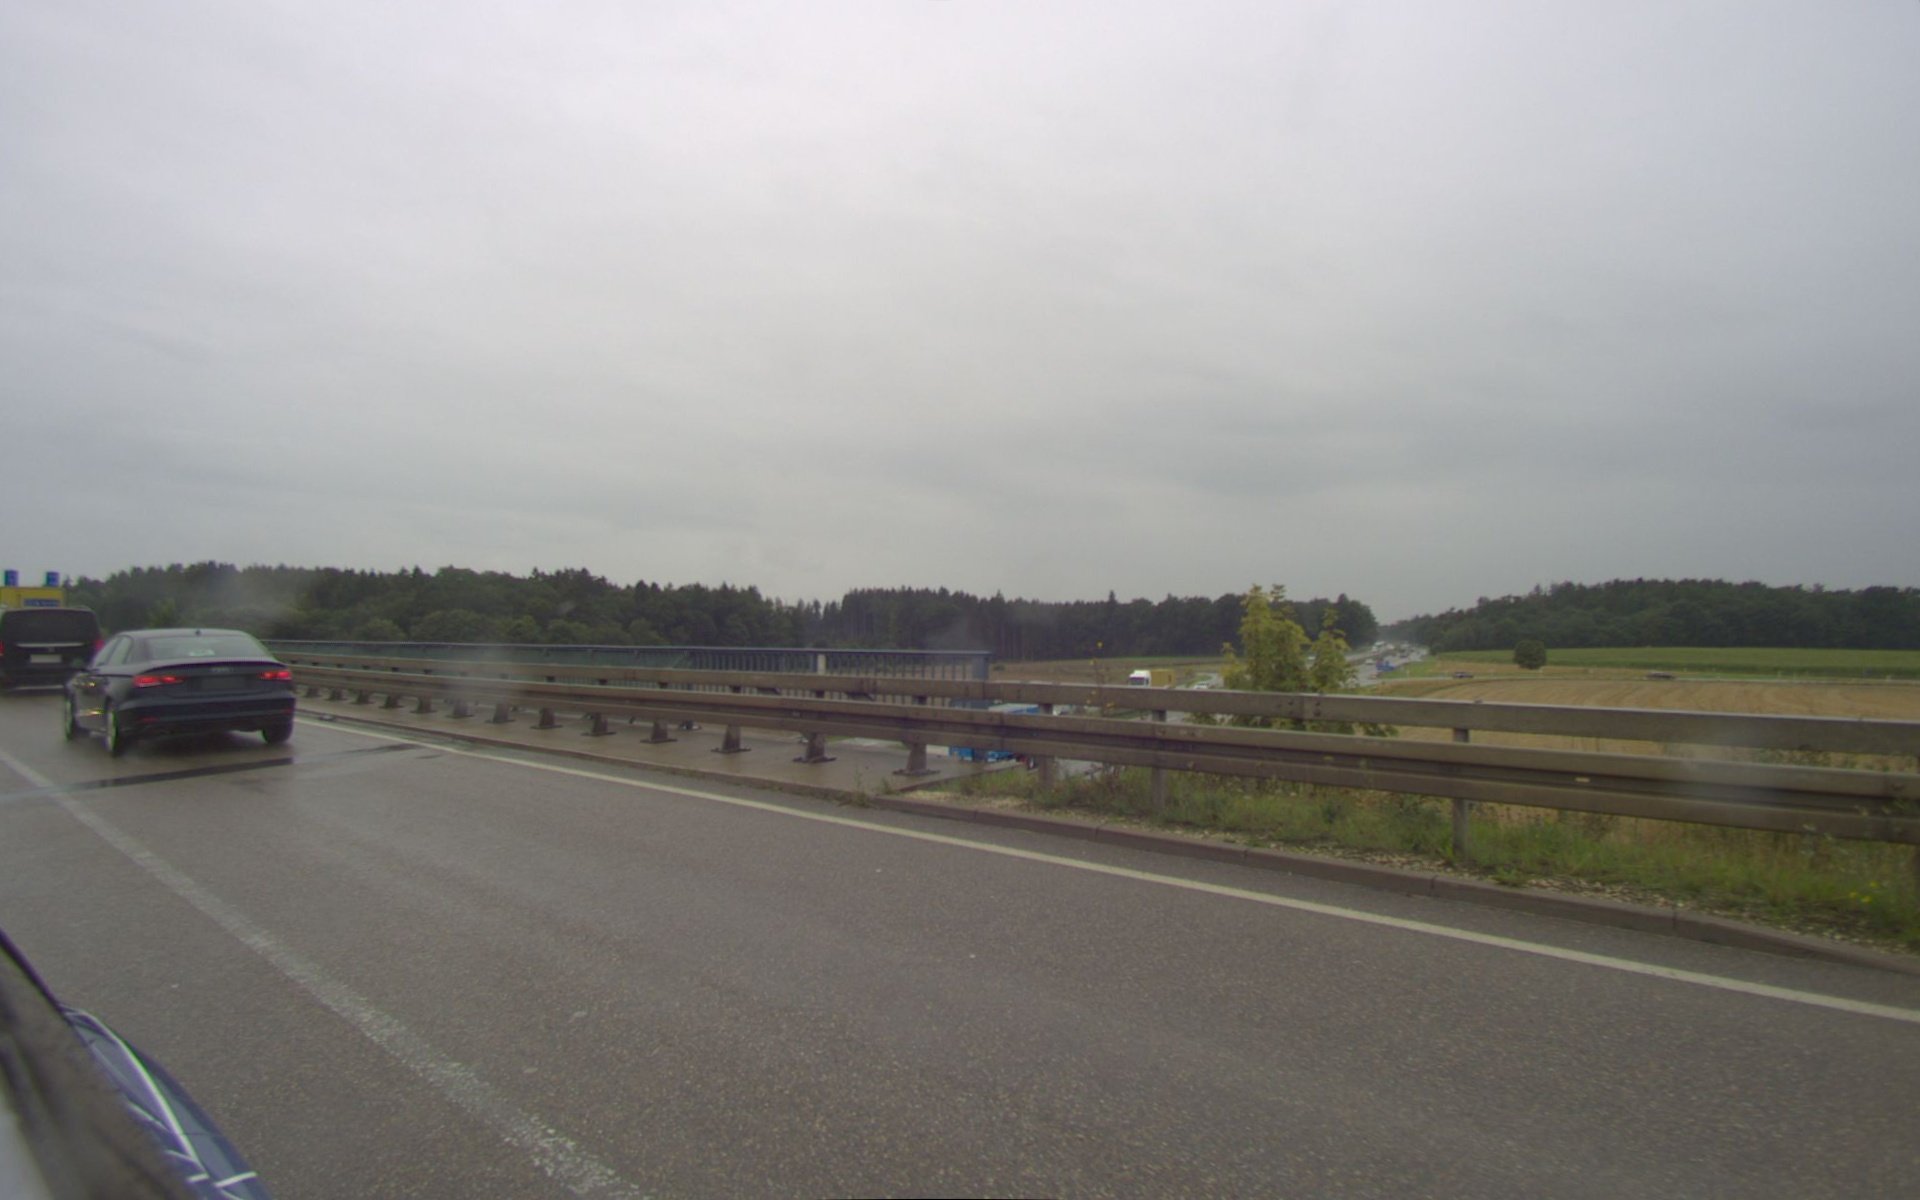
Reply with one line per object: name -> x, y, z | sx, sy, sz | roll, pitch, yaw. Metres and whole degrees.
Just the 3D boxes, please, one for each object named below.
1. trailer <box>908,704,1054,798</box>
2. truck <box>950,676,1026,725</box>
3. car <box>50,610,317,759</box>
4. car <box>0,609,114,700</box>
trailer -> 1.700, 9.040, 62.916 | 2.869, 4.251, 14.229 | -2, -3, 28
truck -> 2.759, 9.469, 96.403 | 2.234, 3.727, 9.739 | -3, -1, 34
car -> -9.723, 0.964, 12.570 | 4.066, 1.549, 1.820 | -2, -3, 41
car -> -20.741, 1.194, 22.713 | 4.930, 1.851, 2.043 | -2, -3, 43
